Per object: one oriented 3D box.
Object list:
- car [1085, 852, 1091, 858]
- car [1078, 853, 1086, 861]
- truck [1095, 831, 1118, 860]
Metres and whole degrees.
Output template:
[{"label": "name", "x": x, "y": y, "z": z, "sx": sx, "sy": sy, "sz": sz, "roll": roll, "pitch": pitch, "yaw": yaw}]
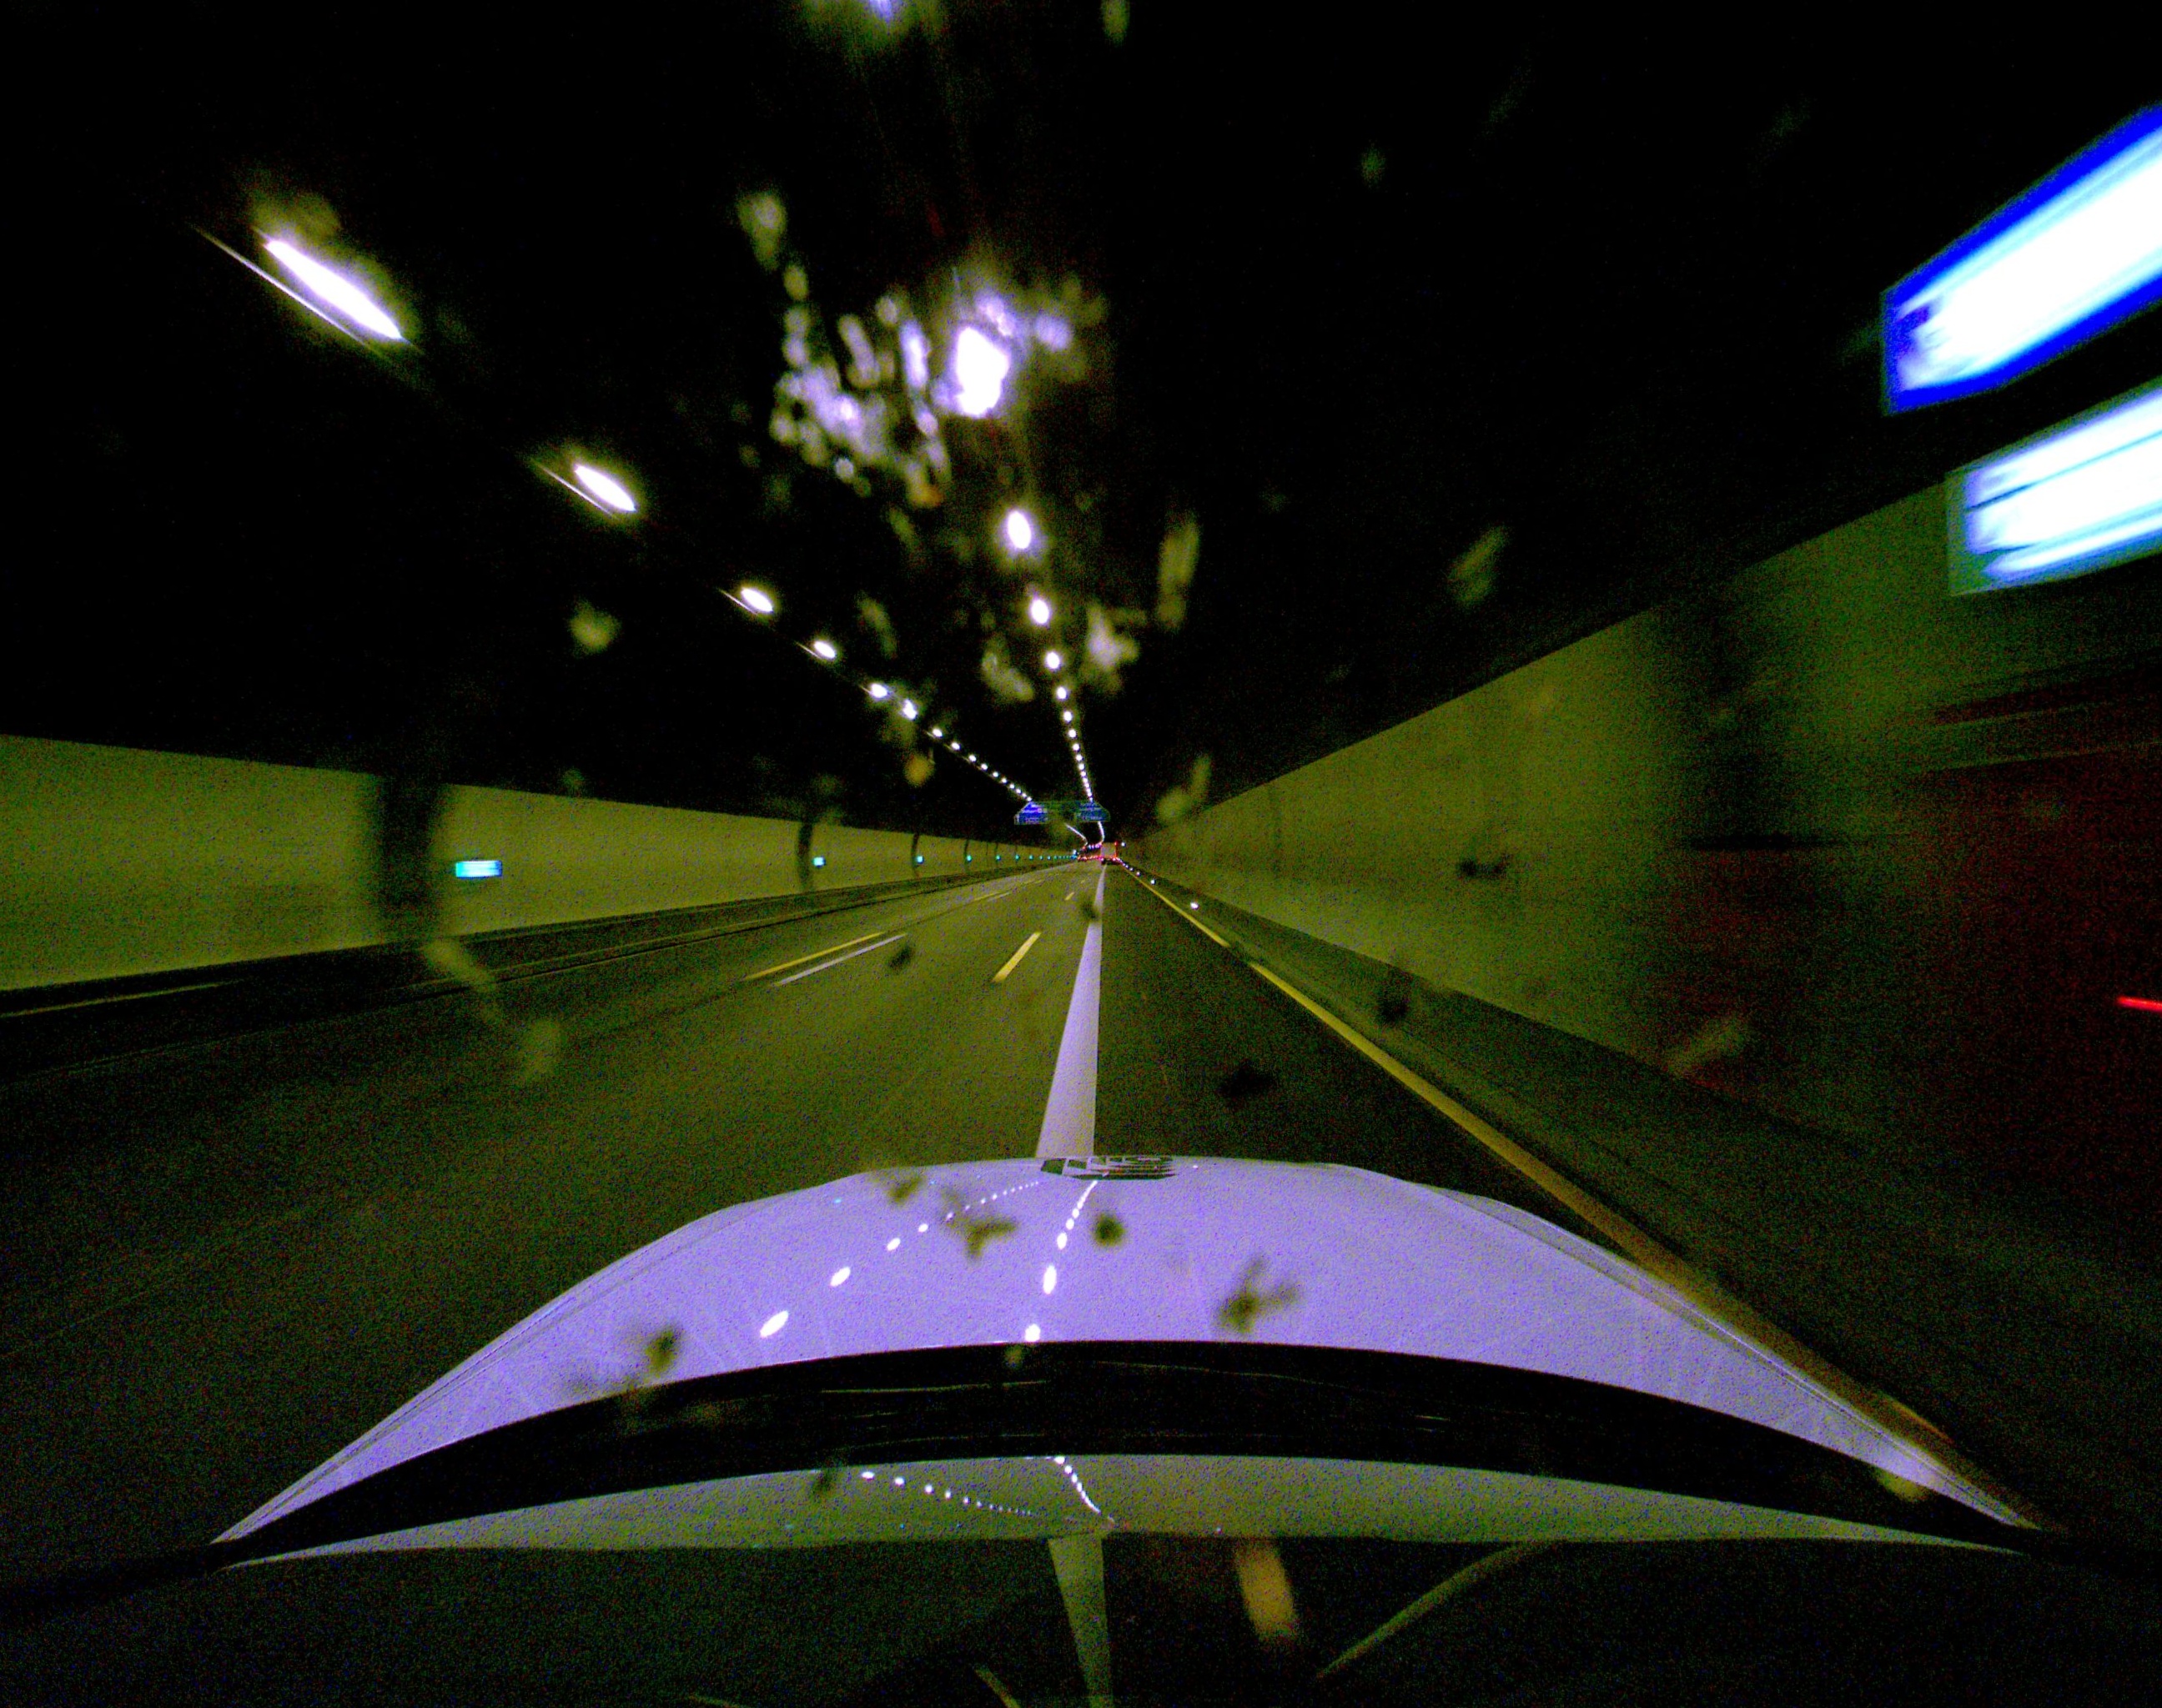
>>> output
[{"label": "car", "x": 1.994, "y": 0.329, "z": 235.977, "sx": 1.808, "sy": 1.520, "sz": 3.998, "roll": -1, "pitch": 2, "yaw": -2}, {"label": "car", "x": 0.201, "y": 0.656, "z": 177.919, "sx": 1.807, "sy": 1.618, "sz": 3.999, "roll": -1, "pitch": 0, "yaw": -1}, {"label": "truck", "x": 4.302, "y": -1.403, "z": 140.080, "sx": 3.268, "sy": 4.650, "sz": 17.284, "roll": -2, "pitch": 0, "yaw": 0}]
